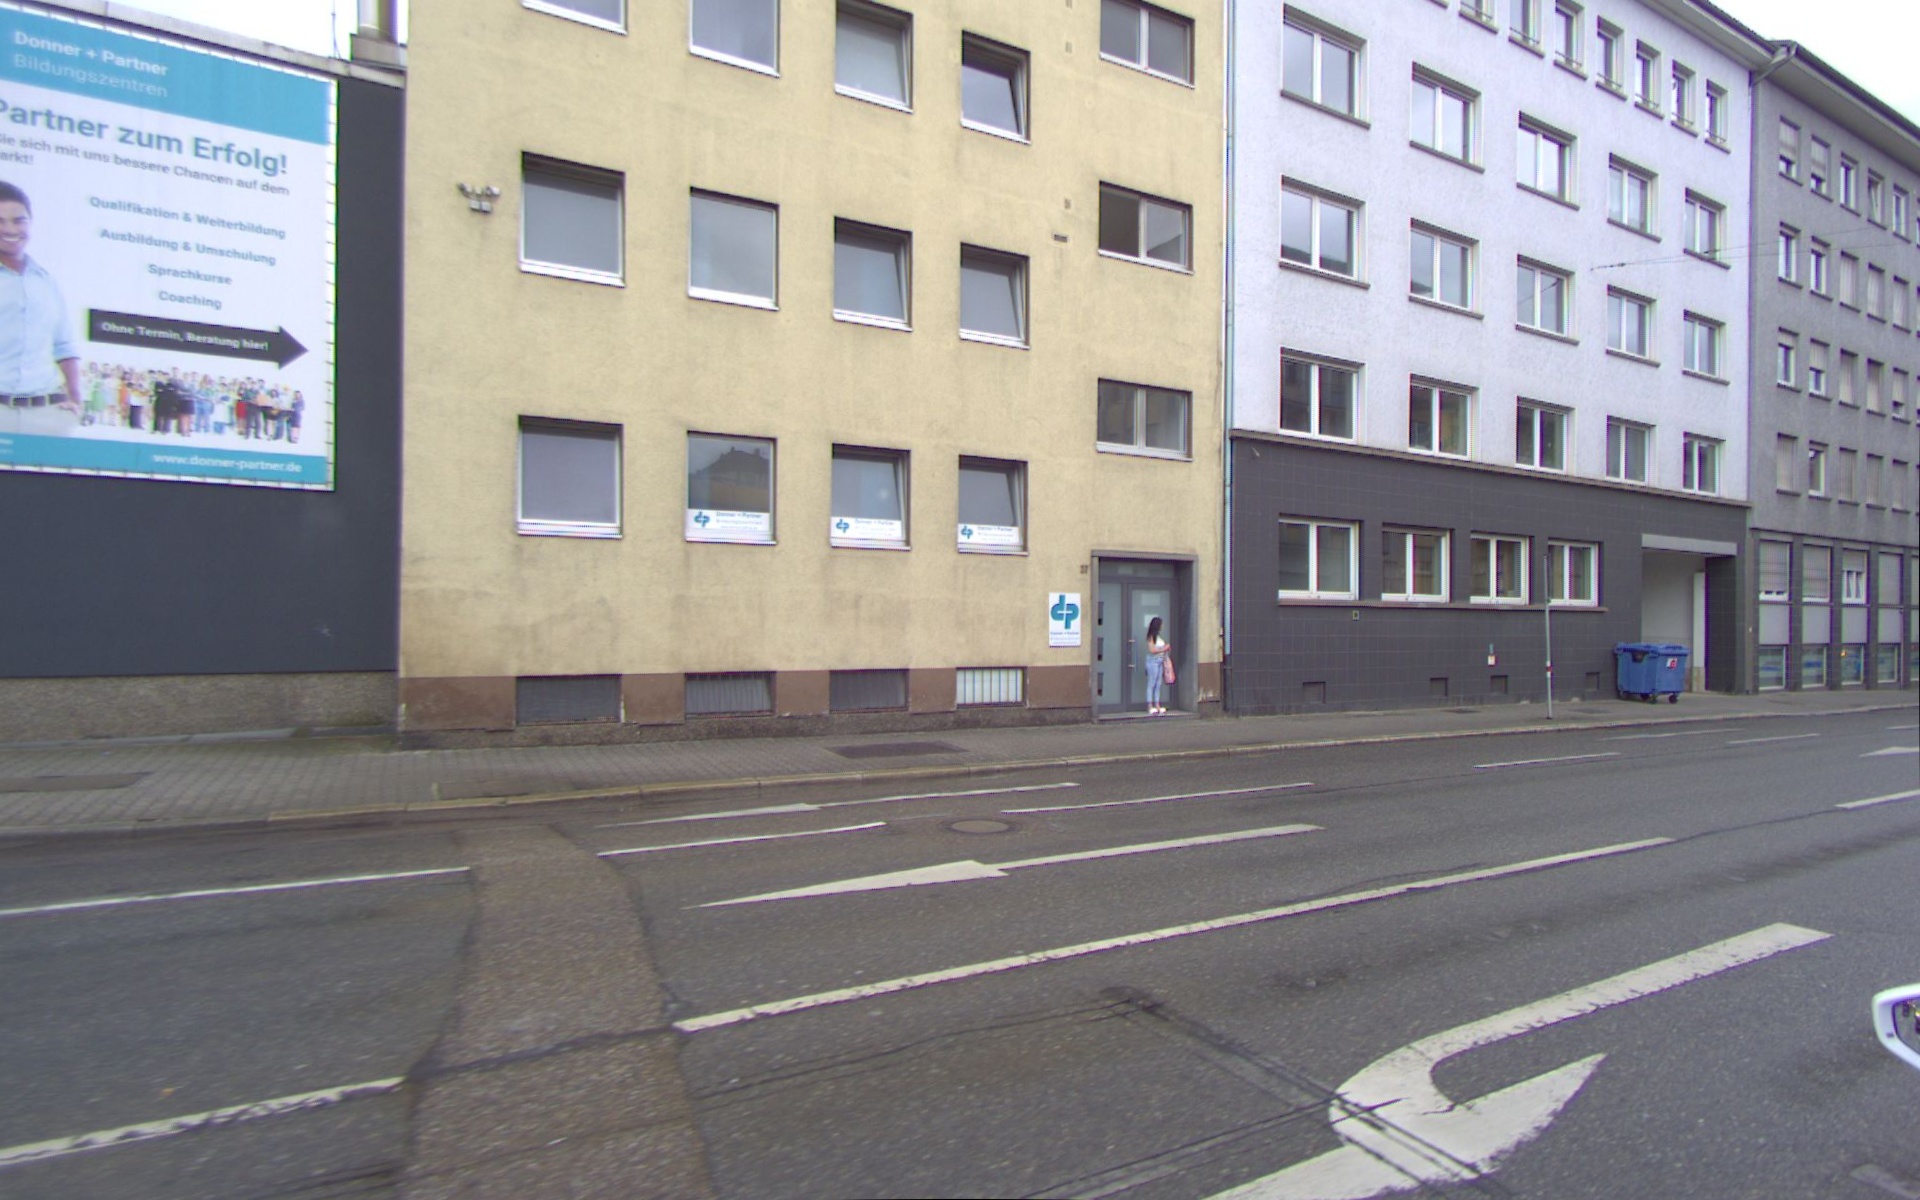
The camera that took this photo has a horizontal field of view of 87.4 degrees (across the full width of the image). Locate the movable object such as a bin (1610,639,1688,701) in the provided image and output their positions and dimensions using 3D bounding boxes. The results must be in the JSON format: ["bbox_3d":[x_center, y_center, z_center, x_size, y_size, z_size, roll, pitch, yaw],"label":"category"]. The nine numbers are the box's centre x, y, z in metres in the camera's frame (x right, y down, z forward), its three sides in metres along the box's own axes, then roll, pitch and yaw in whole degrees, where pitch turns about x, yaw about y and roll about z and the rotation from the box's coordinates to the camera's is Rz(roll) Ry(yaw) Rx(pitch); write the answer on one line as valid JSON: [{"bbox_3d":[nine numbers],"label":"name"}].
[{"bbox_3d":[15.906,1.597,23.199,1.176,1.342,1.071,1,0,-29],"label":"movable object such as a bin"}]

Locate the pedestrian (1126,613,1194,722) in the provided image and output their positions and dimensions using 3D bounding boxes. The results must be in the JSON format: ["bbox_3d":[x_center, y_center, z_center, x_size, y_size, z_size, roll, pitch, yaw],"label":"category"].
[{"bbox_3d":[3.279,1.089,16.492,0.801,1.712,0.714,1,0,-28],"label":"pedestrian"}]
